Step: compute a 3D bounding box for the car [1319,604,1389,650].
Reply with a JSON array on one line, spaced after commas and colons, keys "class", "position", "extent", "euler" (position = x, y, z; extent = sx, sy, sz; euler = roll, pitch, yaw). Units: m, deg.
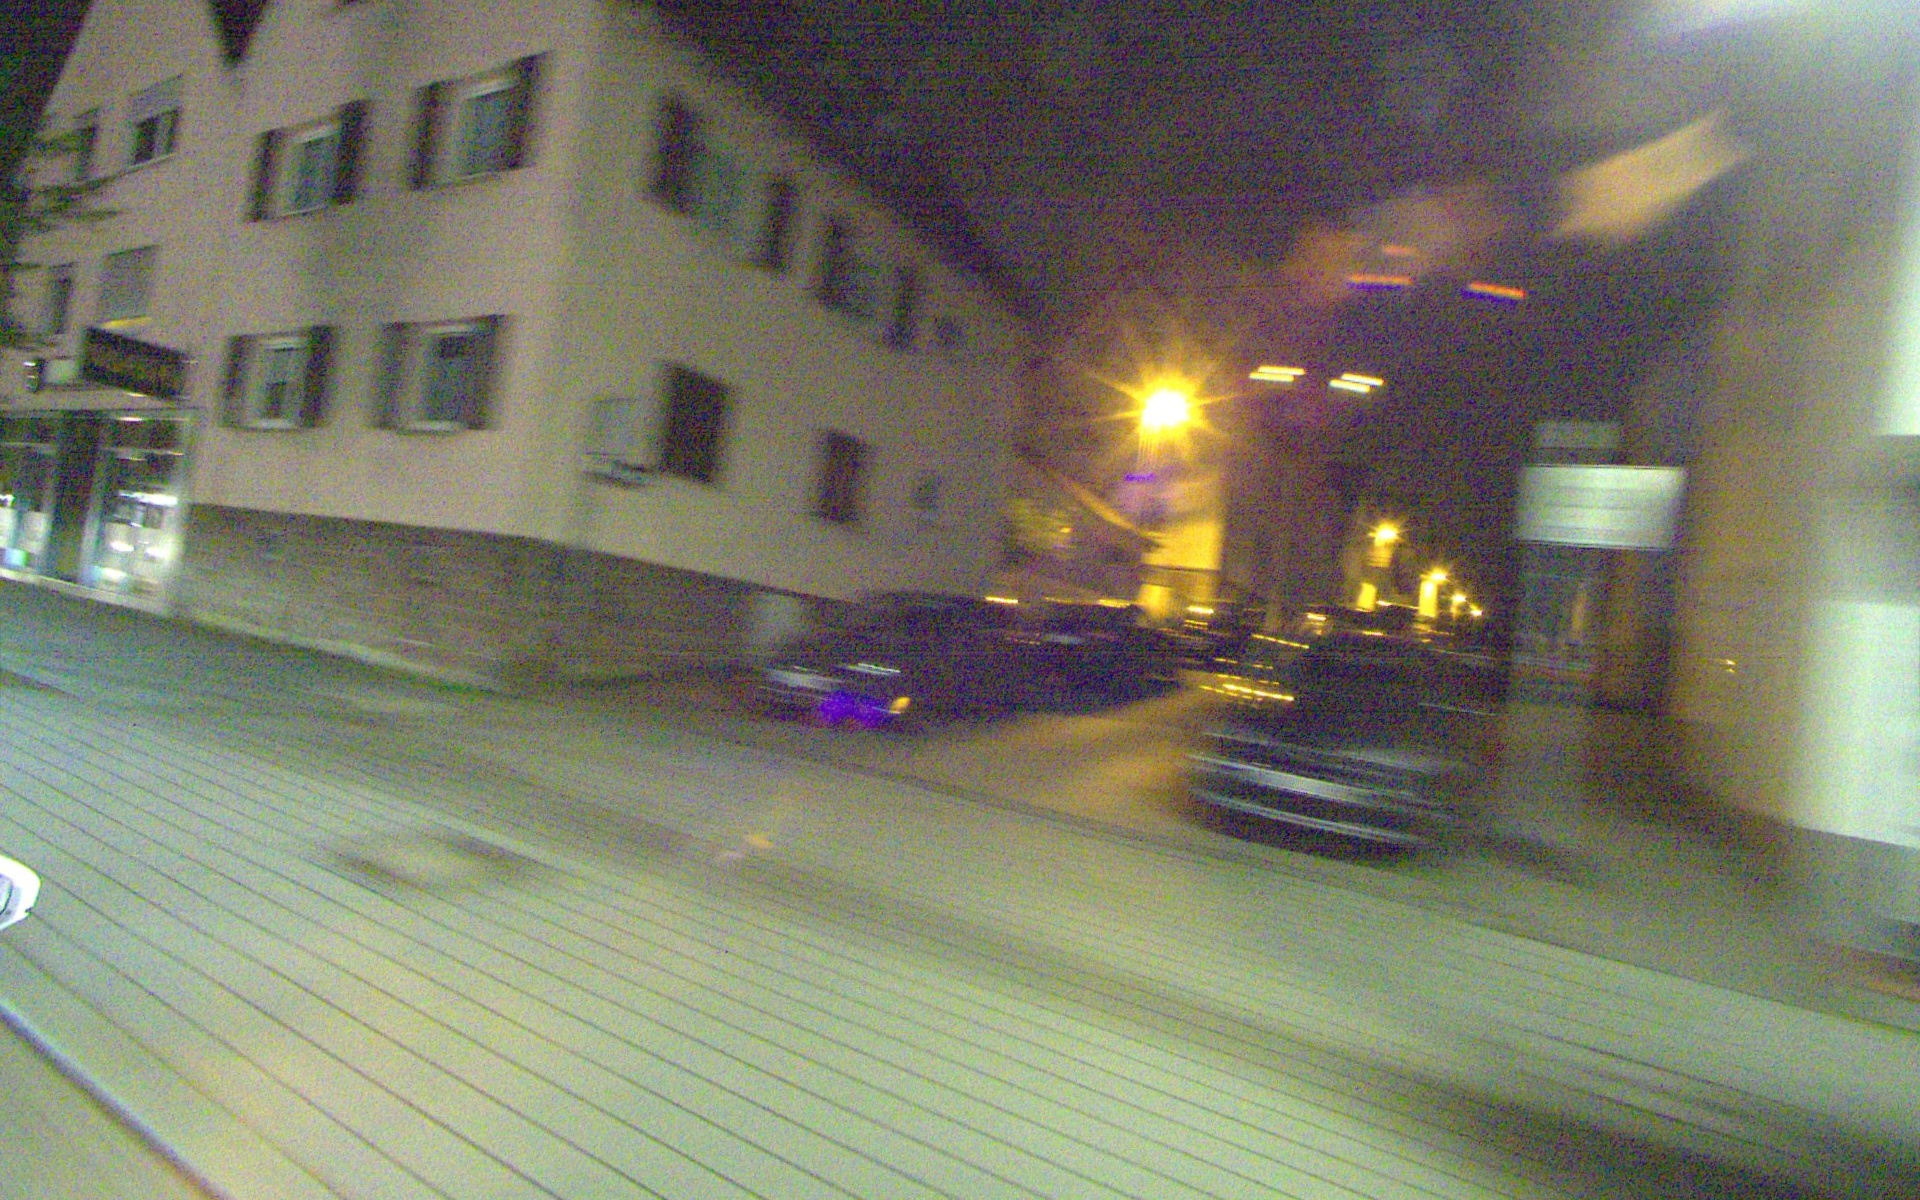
[{"class": "car", "position": [14.977, 0.983, 38.152], "extent": [1.847, 1.496, 3.988], "euler": [5, 2, 29]}]

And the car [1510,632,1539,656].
[{"class": "car", "position": [44.587, 3.450, 79.485], "extent": [1.718, 1.568, 4.050], "euler": [8, 3, 28]}]

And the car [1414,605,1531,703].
[{"class": "car", "position": [11.013, 1.088, 21.581], "extent": [1.863, 1.669, 4.050], "euler": [8, 3, 28]}]

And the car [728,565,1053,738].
[{"class": "car", "position": [-0.587, 0.550, 11.552], "extent": [1.722, 1.495, 3.991], "euler": [6, 1, 29]}]

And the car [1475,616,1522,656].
[{"class": "car", "position": [26.594, 1.748, 49.697], "extent": [1.747, 1.703, 4.050], "euler": [8, 3, 28]}]

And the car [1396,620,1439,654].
[{"class": "car", "position": [26.845, 2.131, 58.936], "extent": [1.847, 1.795, 4.313], "euler": [5, 2, 29]}]

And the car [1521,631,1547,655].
[{"class": "car", "position": [54.500, 4.060, 95.589], "extent": [1.863, 1.972, 4.050], "euler": [8, 3, 28]}]

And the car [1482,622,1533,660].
[{"class": "car", "position": [24.649, 1.811, 45.224], "extent": [1.711, 1.403, 3.950], "euler": [8, 3, 31]}]

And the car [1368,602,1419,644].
[{"class": "car", "position": [22.101, 1.132, 51.189], "extent": [1.847, 1.892, 4.464], "euler": [5, 2, 29]}]

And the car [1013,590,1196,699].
[{"class": "car", "position": [2.550, 0.671, 16.869], "extent": [1.617, 1.496, 4.050], "euler": [5, 2, 29]}]

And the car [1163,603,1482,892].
[{"class": "car", "position": [3.264, 0.997, 8.467], "extent": [1.785, 1.602, 4.081], "euler": [8, 2, 28]}]

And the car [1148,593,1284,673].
[{"class": "car", "position": [5.811, 0.684, 22.498], "extent": [1.884, 1.496, 3.988], "euler": [5, 2, 29]}]

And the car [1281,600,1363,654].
[{"class": "car", "position": [12.066, 0.857, 33.393], "extent": [1.847, 1.569, 3.988], "euler": [5, 2, 29]}]
